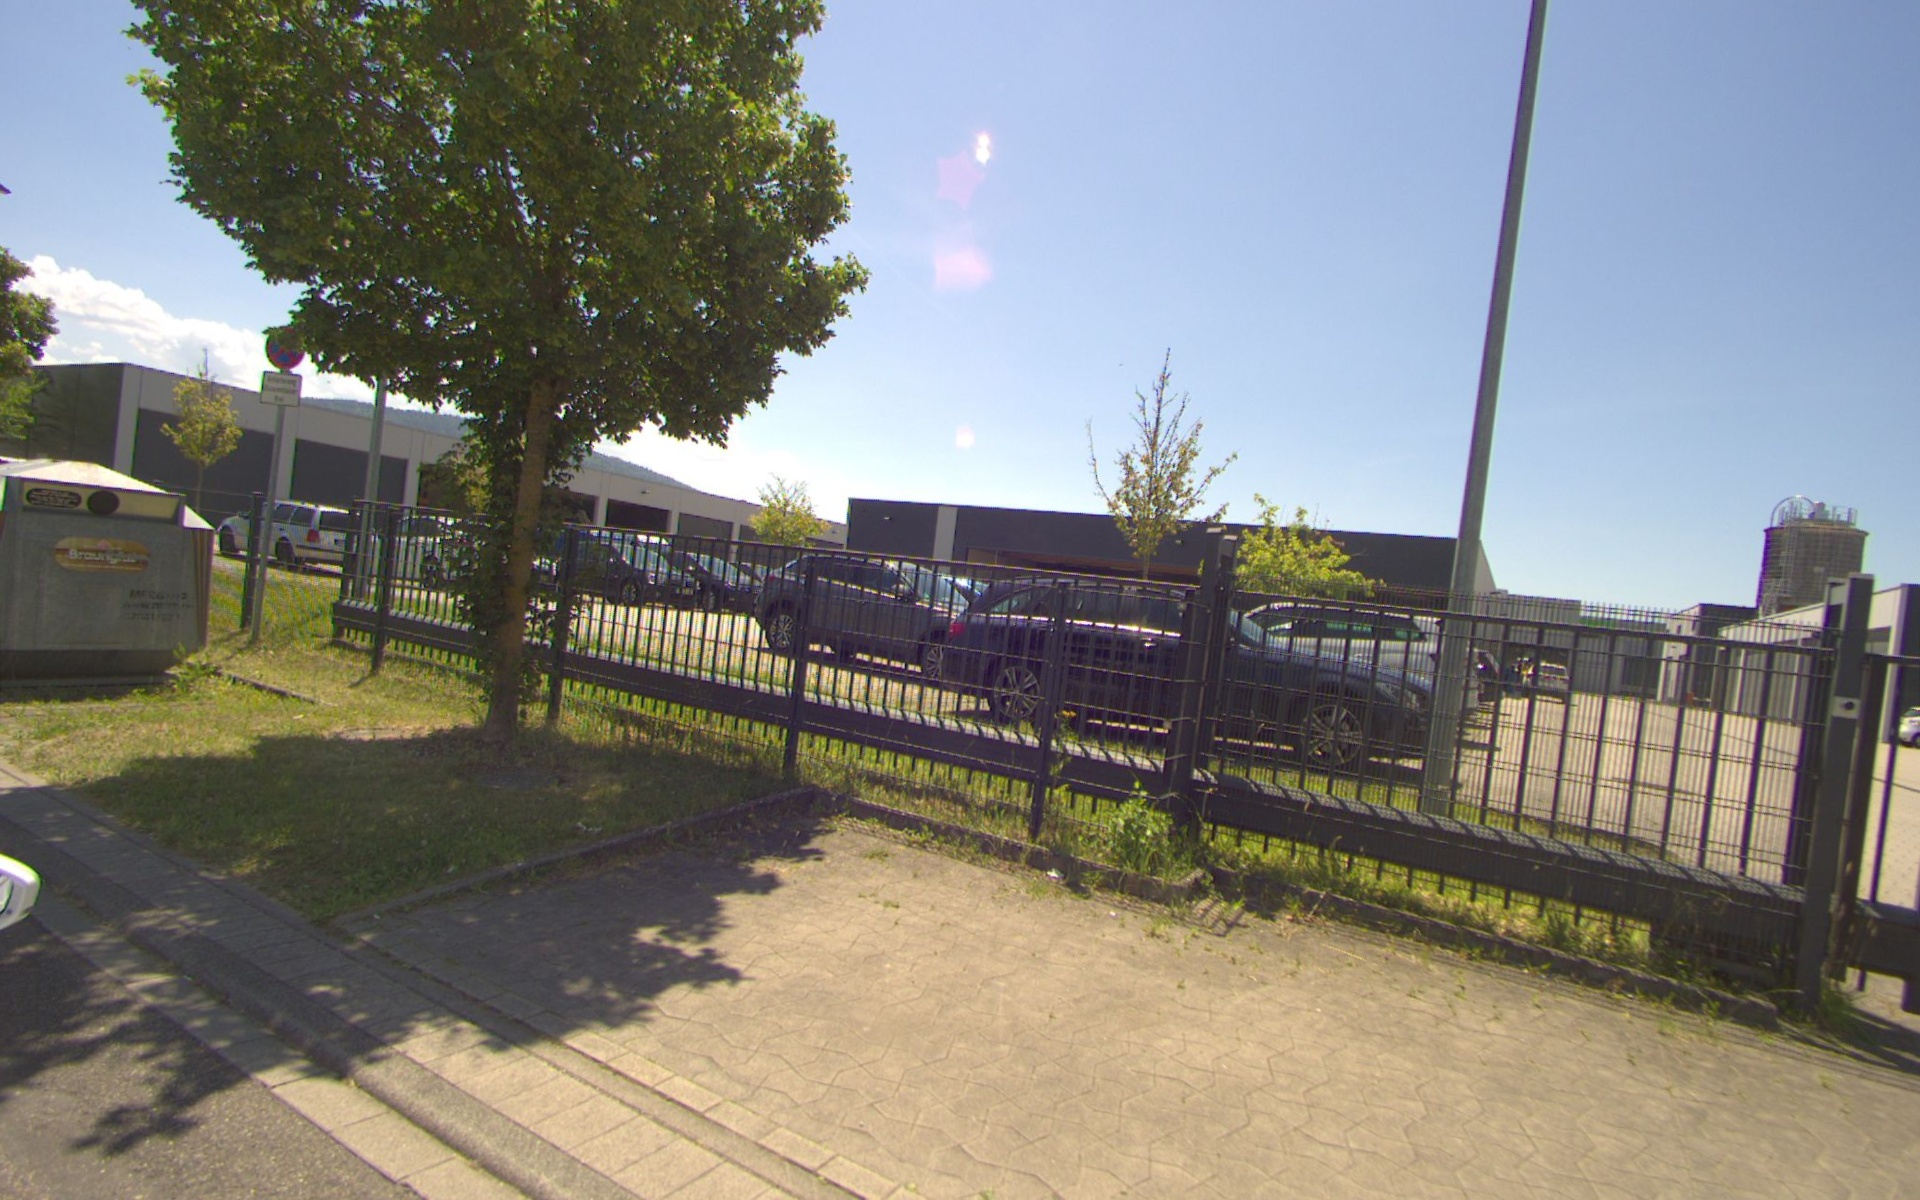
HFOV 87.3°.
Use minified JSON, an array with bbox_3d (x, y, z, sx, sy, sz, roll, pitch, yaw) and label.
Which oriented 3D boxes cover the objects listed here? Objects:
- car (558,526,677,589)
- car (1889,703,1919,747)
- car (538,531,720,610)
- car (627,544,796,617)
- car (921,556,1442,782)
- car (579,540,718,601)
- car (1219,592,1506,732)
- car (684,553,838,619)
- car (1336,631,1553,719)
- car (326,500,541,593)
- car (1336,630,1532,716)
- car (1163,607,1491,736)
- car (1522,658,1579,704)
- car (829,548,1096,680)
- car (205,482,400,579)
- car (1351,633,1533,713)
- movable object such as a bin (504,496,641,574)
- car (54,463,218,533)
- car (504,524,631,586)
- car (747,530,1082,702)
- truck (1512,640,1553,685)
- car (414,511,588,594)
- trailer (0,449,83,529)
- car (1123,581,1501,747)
[{"bbox_3d":[-15.780,-1.953,46.304,5.412,2.508,1.883,4,0,29],"label":"car"},{"bbox_3d":[36.726,4.793,36.531,3.973,1.481,1.683,6,1,31],"label":"car"},{"bbox_3d":[-7.912,-0.709,23.969,4.030,1.479,1.792,5,0,29],"label":"car"},{"bbox_3d":[-6.427,-0.511,25.942,4.030,1.479,1.792,5,0,29],"label":"car"},{"bbox_3d":[2.000,0.524,9.415,4.335,1.473,1.792,5,-1,29],"label":"car"},{"bbox_3d":[-9.725,-0.926,31.348,4.030,1.479,1.792,5,0,29],"label":"car"},{"bbox_3d":[7.170,1.041,18.023,4.439,1.923,1.914,5,0,29],"label":"car"},{"bbox_3d":[-5.688,-0.413,28.715,4.030,1.479,1.792,5,0,29],"label":"car"},{"bbox_3d":[11.582,1.759,24.203,4.439,1.552,1.914,5,-1,29],"label":"car"},{"bbox_3d":[-10.533,-1.078,20.080,4.073,1.450,1.792,5,-1,29],"label":"car"},{"bbox_3d":[12.535,1.893,26.711,4.455,1.736,1.914,5,0,29],"label":"car"},{"bbox_3d":[5.770,1.057,15.951,4.571,1.451,1.842,5,-1,29],"label":"car"},{"bbox_3d":[25.864,3.504,44.046,1.891,1.634,4.102,7,1,31],"label":"car"},{"bbox_3d":[0.000,0.205,16.599,3.953,1.511,1.648,9,2,29],"label":"car"},{"bbox_3d":[-14.888,-1.583,22.719,4.346,1.550,1.792,9,2,29],"label":"car"},{"bbox_3d":[13.859,2.061,29.024,4.455,1.736,1.914,5,0,29],"label":"car"},{"bbox_3d":[-25.530,-4.296,66.228,8.519,4.025,3.545,8,1,30],"label":"movable object such as a bin"},{"bbox_3d":[-22.354,-2.769,27.274,4.392,1.541,1.883,4,-1,29],"label":"car"},{"bbox_3d":[-17.064,-1.981,43.641,5.560,2.291,1.883,4,0,29],"label":"car"},{"bbox_3d":[-0.673,0.177,13.953,4.168,1.643,1.792,9,2,29],"label":"car"},{"bbox_3d":[37.349,4.081,65.602,1.966,2.589,5.226,7,1,30],"label":"truck"},{"bbox_3d":[-11.941,-1.240,26.138,4.346,1.500,1.792,9,2,29],"label":"car"},{"bbox_3d":[-28.439,-3.439,30.777,3.210,2.033,1.493,10,3,33],"label":"trailer"},{"bbox_3d":[4.807,0.795,13.896,4.571,1.674,1.842,5,0,29],"label":"car"}]
